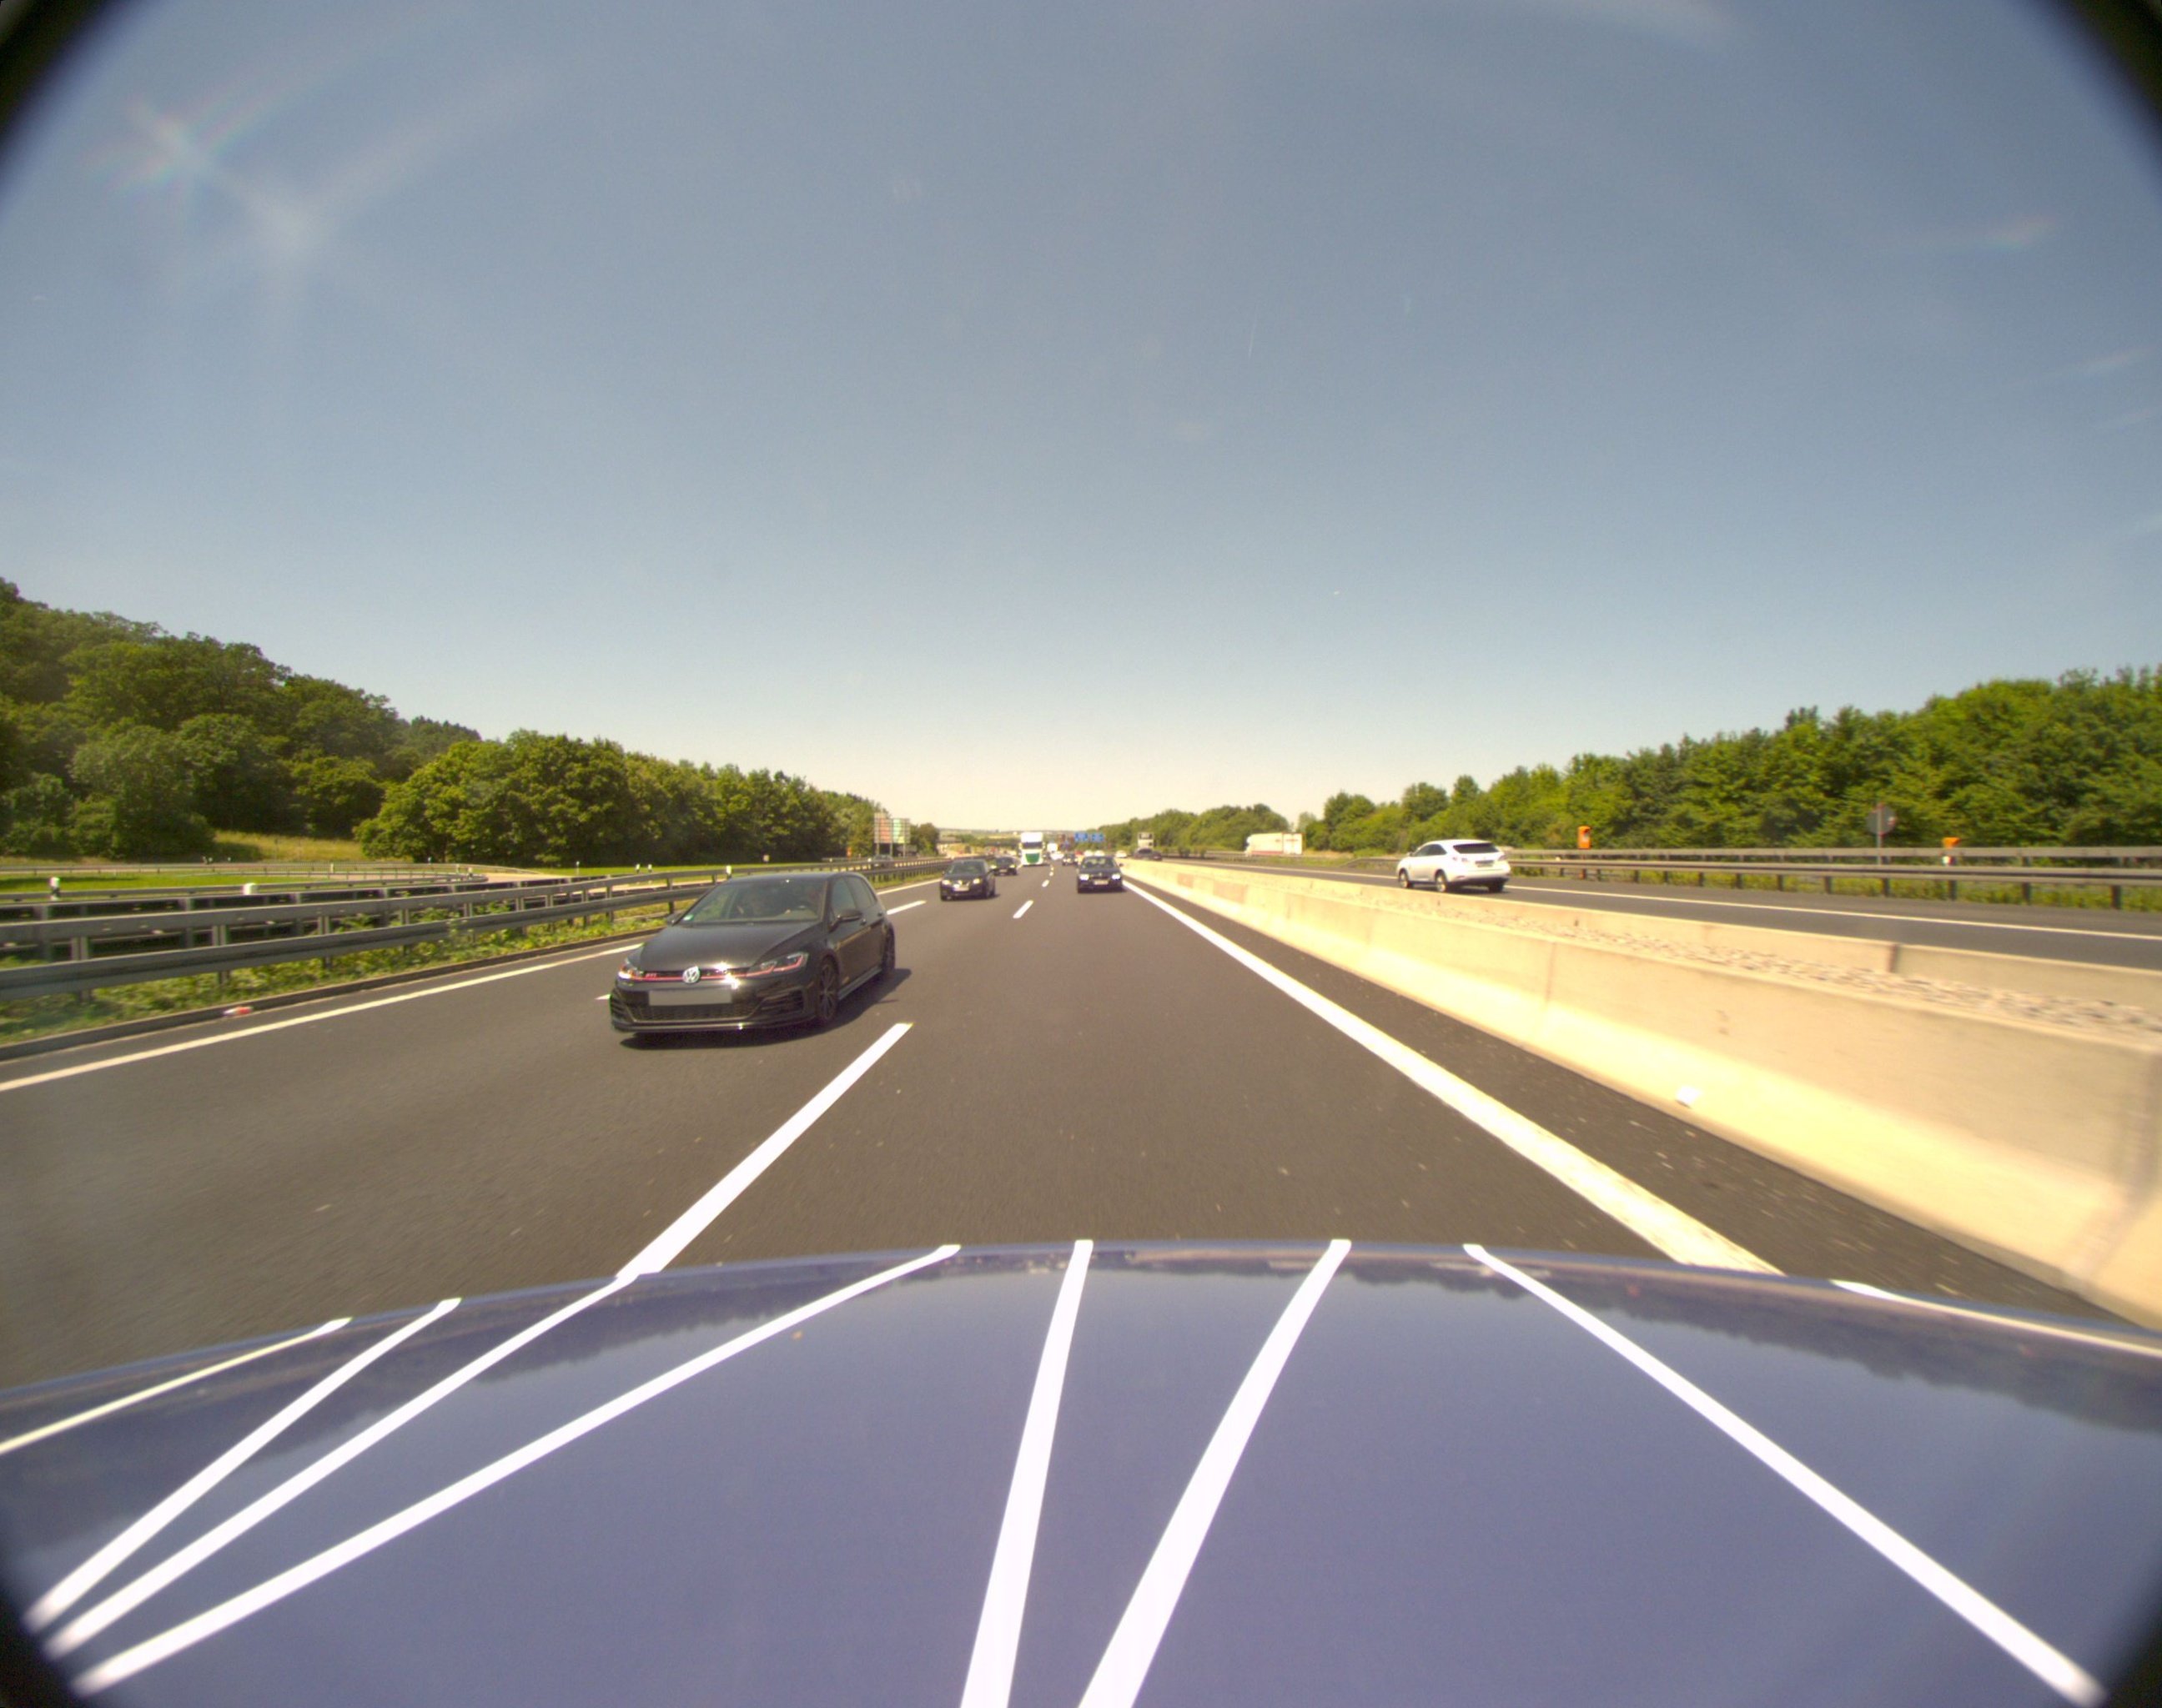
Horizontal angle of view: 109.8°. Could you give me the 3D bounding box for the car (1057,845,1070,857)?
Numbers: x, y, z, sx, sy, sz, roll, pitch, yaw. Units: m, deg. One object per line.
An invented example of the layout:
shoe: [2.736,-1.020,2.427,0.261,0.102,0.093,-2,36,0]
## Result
car: [-3.125,-0.570,132.461,1.925,2.002,3.998,-1,1,-5]

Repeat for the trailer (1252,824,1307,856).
trailer: [26.784,-1.891,103.541,3.116,3.974,14.078,-1,1,-2]

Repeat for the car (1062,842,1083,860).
car: [-0.983,-0.349,89.013,2.000,2.002,3.996,-2,1,-7]

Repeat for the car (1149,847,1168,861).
car: [10.603,-0.040,104.515,1.999,1.814,4.904,-1,1,-1]

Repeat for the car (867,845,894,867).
car: [-18.687,0.163,71.011,2.000,2.002,3.997,-1,1,-8]

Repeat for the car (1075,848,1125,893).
car: [0.758,0.588,30.163,1.798,1.574,3.999,-1,1,1]

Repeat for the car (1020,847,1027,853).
car: [-15.798,-1.091,209.216,1.999,1.618,3.998,-1,1,-4]

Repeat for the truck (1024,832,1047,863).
truck: [-5.538,-0.842,92.217,2.649,3.572,4.401,-1,1,-3]

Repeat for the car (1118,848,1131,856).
car: [7.841,-0.346,138.006,1.855,1.387,3.999,-3,1,-2]

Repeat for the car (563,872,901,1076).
car: [-3.272,1.016,8.104,1.799,1.427,3.965,-1,1,-1]

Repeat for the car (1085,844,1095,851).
car: [2.237,-1.612,191.762,1.874,1.656,4.660,-2,1,-6]

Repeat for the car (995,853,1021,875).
car: [-5.552,0.724,57.540,1.892,1.464,3.864,-2,1,-6]

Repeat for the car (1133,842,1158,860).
car: [7.174,-0.380,85.058,2.040,1.847,5.372,-1,1,-2]

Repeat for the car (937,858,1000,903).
car: [-4.078,0.921,27.981,1.781,1.392,3.760,-1,1,-1]

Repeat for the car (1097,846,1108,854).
car: [4.704,-0.919,166.613,1.999,1.535,5.039,-1,1,-3]

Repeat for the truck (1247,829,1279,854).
truck: [26.378,-1.779,110.459,3.091,3.484,5.407,-1,1,-3]

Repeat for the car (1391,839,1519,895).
car: [12.159,0.367,25.114,1.792,1.622,4.929,-2,1,0]

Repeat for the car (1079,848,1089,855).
car: [0.680,-0.605,177.205,1.999,1.649,4.632,-1,1,-3]
